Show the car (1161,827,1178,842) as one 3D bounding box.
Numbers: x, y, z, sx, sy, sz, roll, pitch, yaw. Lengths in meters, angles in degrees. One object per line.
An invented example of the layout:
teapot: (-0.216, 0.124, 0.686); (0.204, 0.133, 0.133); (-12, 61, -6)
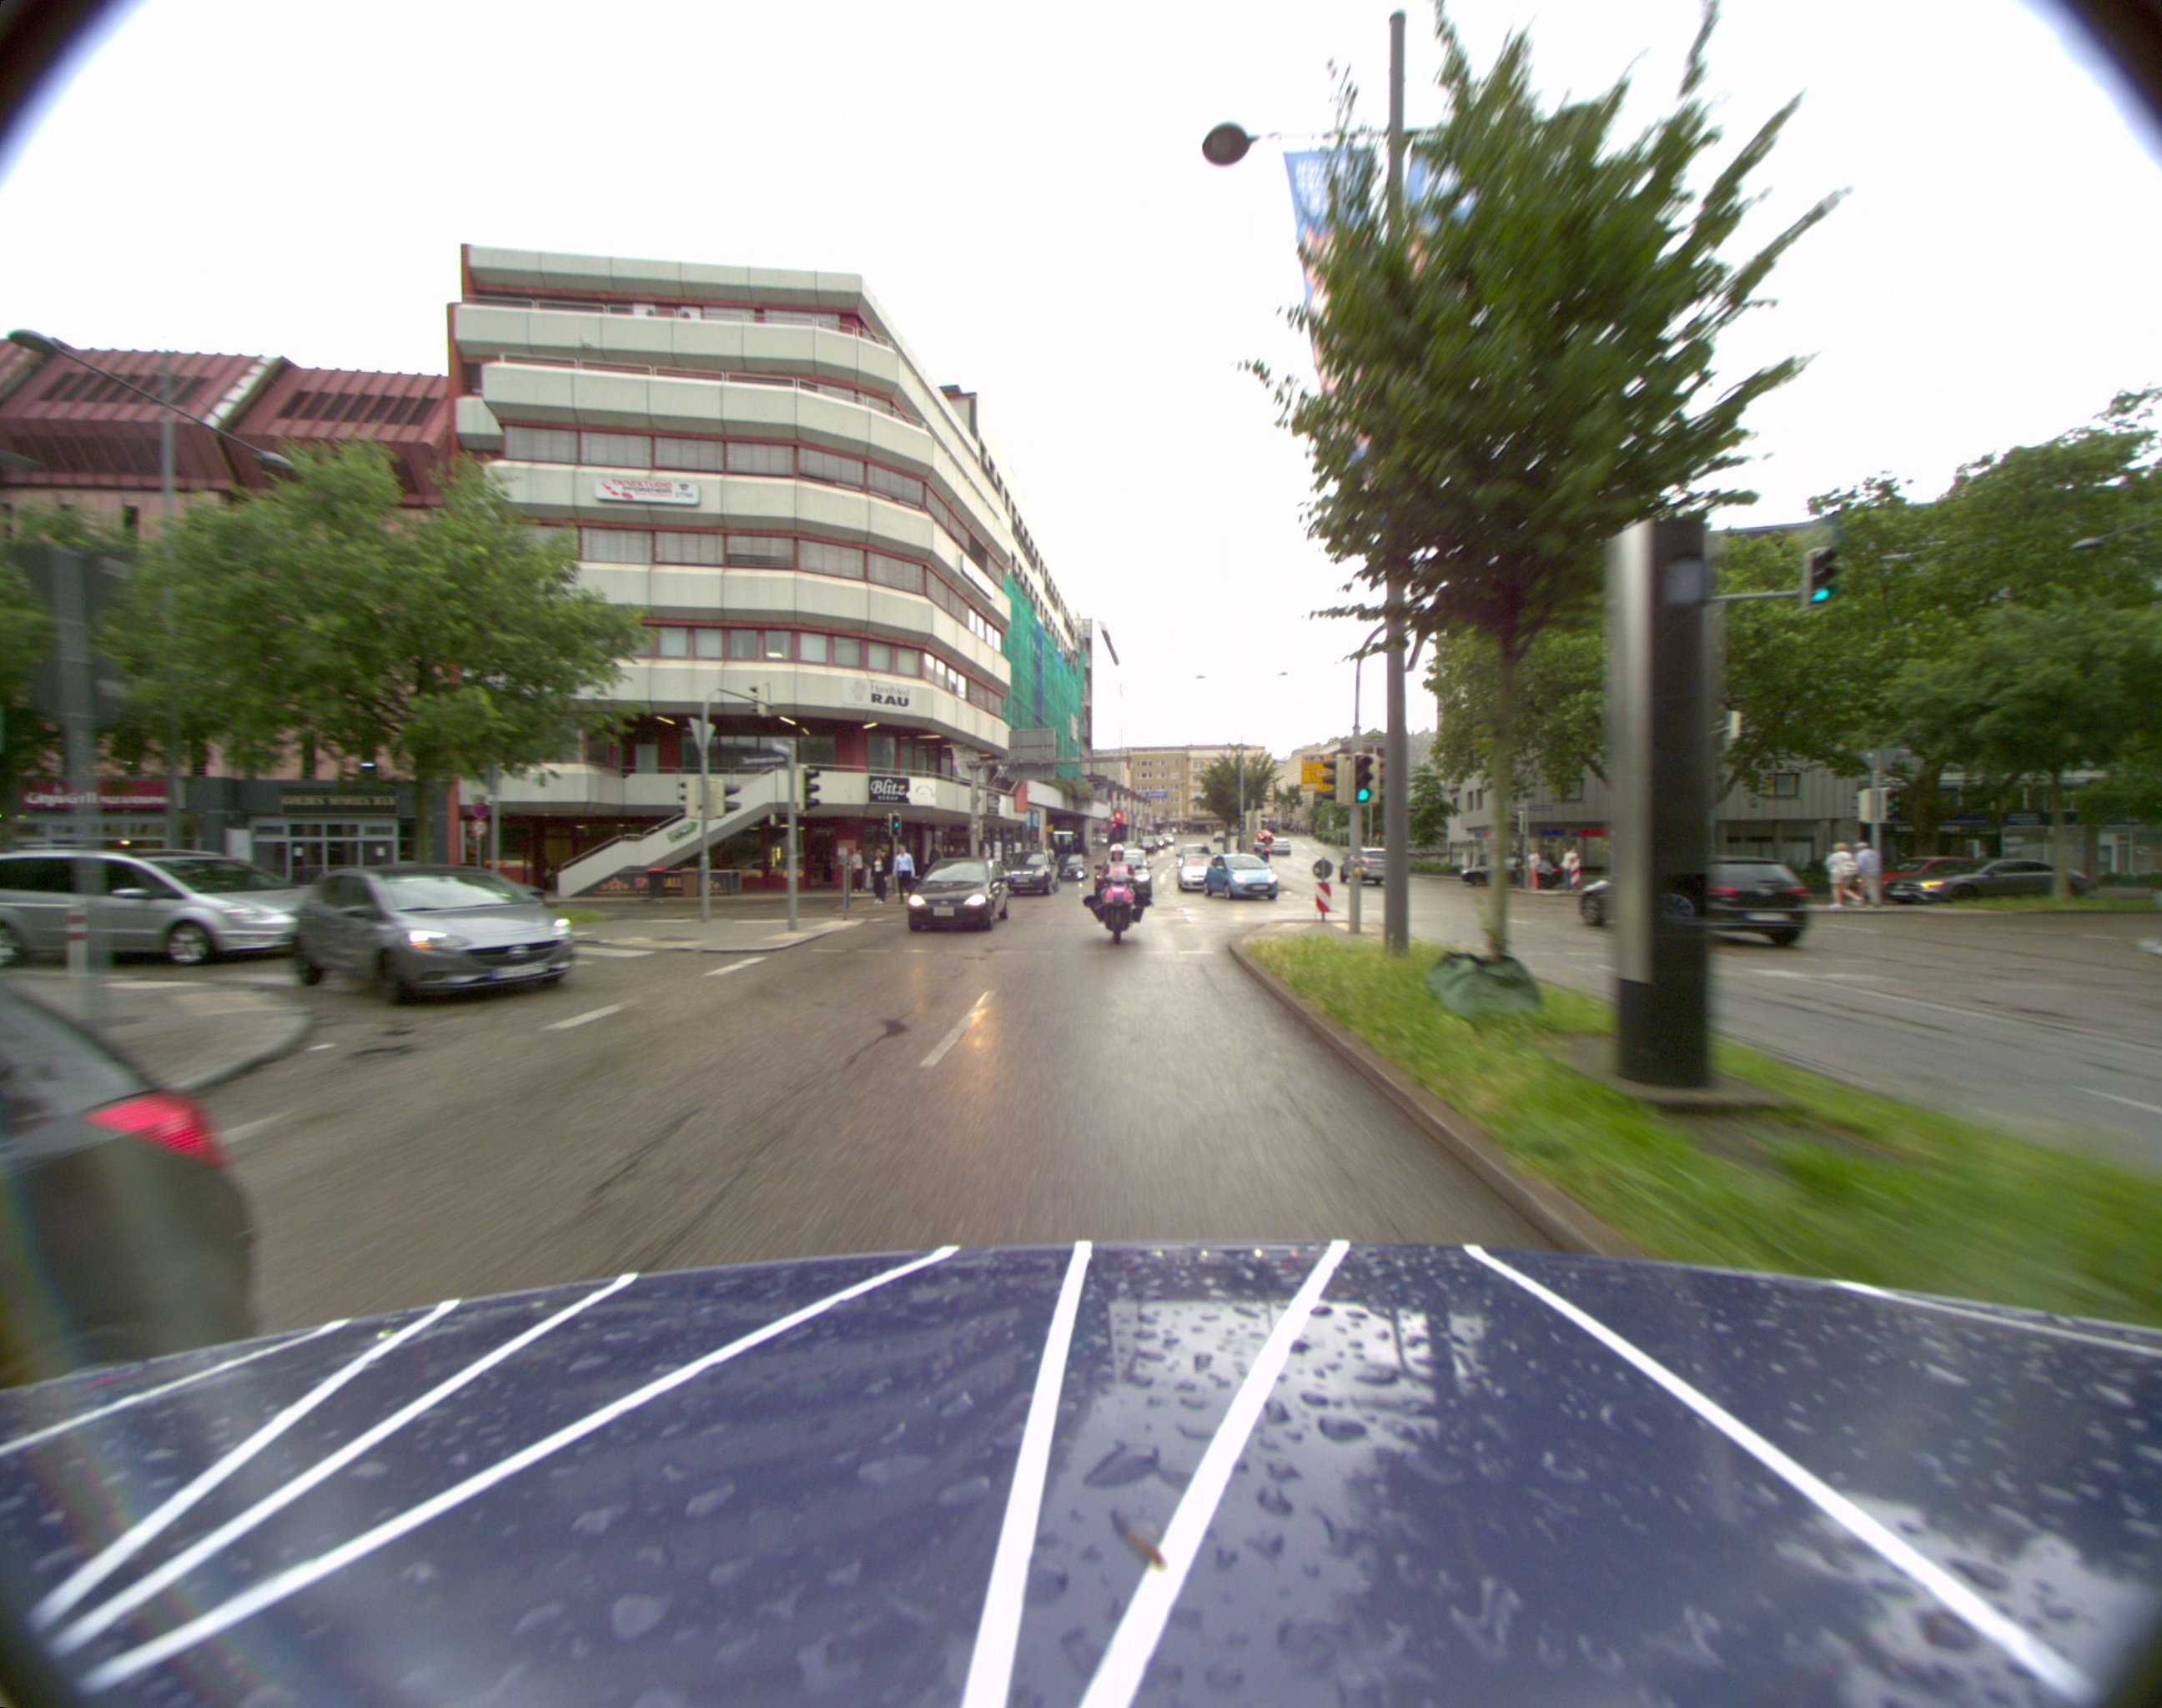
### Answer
car: (11.402, -2.504, 97.694); (1.830, 1.727, 4.001); (1, 4, 10)

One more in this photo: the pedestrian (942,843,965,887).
pedestrian: (-5.568, 0.463, 33.181); (0.760, 1.891, 0.790); (0, 3, 8)

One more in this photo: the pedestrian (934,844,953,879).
pedestrian: (-6.874, 0.365, 37.961); (0.589, 1.696, 0.971); (2, 1, 11)

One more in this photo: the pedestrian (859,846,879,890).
pedestrian: (-8.706, 0.578, 31.196); (0.596, 1.753, 0.493); (-1, 3, 9)

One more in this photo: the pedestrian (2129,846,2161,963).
pedestrian: (16.731, 0.774, 11.540); (0.648, 1.755, 0.592); (0, 4, 4)

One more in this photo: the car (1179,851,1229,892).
car: (4.921, 0.643, 30.764); (1.768, 1.401, 4.001); (-1, 2, 6)

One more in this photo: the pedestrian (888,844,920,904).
pedestrian: (-5.582, 0.611, 24.015); (0.623, 1.837, 0.848); (0, 3, 15)

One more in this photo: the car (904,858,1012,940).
car: (-2.462, 0.854, 16.025); (1.596, 1.432, 3.627); (-1, 1, 1)

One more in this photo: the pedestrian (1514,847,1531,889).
pedestrian: (18.814, 0.598, 32.387); (0.412, 1.753, 0.677); (0, 0, 7)

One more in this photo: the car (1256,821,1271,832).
car: (25.294, -3.774, 105.385); (1.628, 1.430, 3.647); (0, 3, 8)

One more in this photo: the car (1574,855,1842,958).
car: (10.877, 0.795, 13.651); (1.761, 1.412, 4.098); (2, 2, 8)

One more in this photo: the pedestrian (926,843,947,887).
pedestrian: (-6.324, 0.464, 33.255); (0.733, 1.885, 0.676); (0, 3, 8)

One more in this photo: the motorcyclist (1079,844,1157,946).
motorcyclist: (0.677, 0.710, 13.664); (1.295, 1.756, 0.846); (1, 0, 9)

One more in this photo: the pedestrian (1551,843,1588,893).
pedestrian: (19.012, 0.523, 29.576); (0.861, 1.895, 0.826); (-1, 1, -15)

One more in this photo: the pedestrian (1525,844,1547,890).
pedestrian: (18.727, 0.532, 31.284); (0.447, 1.827, 0.676); (0, 4, 4)

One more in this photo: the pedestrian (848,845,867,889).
pedestrian: (-9.044, 0.510, 30.731); (0.528, 1.753, 0.510); (-3, 4, -34)

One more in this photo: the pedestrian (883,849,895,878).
pedestrian: (-9.842, 0.487, 38.908); (0.460, 1.479, 0.508); (-1, 4, -30)

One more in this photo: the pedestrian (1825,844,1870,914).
pedestrian: (19.701, 0.634, 19.528); (0.528, 1.754, 0.592); (-3, 2, 7)

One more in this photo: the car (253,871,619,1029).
car: (-7.904, 0.994, 9.308); (3.989, 1.468, 2.003); (-1, 2, 27)

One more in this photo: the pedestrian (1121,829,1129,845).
pedestrian: (5.136, -2.008, 88.507); (0.707, 1.772, 0.641); (5, 9, 10)

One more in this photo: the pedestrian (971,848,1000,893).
pedestrian: (-4.026, 0.677, 32.186); (0.897, 1.770, 0.805); (5, 4, 12)

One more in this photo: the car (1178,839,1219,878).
car: (6.436, 0.190, 41.562); (1.997, 1.768, 4.886); (-2, 3, 9)

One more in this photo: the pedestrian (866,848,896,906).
pedestrian: (-6.312, 0.708, 23.996); (0.623, 1.764, 0.677); (0, 3, 15)

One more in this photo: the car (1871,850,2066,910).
car: (26.438, 0.738, 22.752); (3.596, 1.686, 1.638); (1, 0, 9)

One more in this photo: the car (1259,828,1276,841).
car: (22.630, -2.326, 92.190); (1.621, 1.483, 3.881); (2, 2, 8)

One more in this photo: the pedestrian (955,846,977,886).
pedestrian: (-5.218, 0.523, 34.608); (0.750, 1.770, 0.888); (-1, 3, 5)

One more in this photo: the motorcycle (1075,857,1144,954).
motorcycle: (0.551, 0.791, 13.135); (0.831, 1.479, 2.868); (1, 0, 9)

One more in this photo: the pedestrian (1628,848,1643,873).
pedestrian: (37.530, 0.431, 51.423); (0.622, 1.648, 0.633); (1, 4, 14)

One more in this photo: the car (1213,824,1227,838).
car: (18.820, -3.133, 103.033); (1.830, 1.727, 4.001); (1, 4, 10)

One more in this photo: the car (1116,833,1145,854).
car: (4.347, -0.941, 65.780); (1.775, 1.575, 4.002); (-2, 3, 13)

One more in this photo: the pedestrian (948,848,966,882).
pedestrian: (-6.167, 0.558, 37.864); (0.575, 1.654, 0.941); (2, 1, 11)

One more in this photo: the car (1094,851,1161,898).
car: (1.790, 0.677, 27.620); (1.936, 1.511, 4.471); (-1, 0, 10)

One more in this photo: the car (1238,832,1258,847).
car: (17.838, -1.576, 81.401); (1.716, 1.470, 3.958); (2, 2, 8)

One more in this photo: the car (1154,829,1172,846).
car: (9.380, -1.911, 86.899); (1.830, 1.727, 4.001); (1, 4, 10)

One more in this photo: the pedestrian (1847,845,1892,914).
pedestrian: (20.300, 0.651, 19.568); (0.528, 1.754, 0.593); (1, 0, 7)

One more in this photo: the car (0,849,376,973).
car: (-14.208, 0.822, 11.853); (4.606, 1.749, 1.855); (0, 2, -1)

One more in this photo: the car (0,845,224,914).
car: (-26.494, 0.650, 20.671); (3.998, 1.544, 1.806); (-3, 3, -3)

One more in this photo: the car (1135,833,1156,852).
car: (6.566, -1.148, 77.070); (1.830, 1.727, 4.001); (1, 4, 10)

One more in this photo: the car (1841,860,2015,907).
car: (29.121, 0.987, 26.225); (3.996, 1.577, 1.702); (0, 0, 2)

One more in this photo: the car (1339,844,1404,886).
car: (13.160, 0.444, 34.696); (1.831, 1.726, 4.312); (0, 1, 7)

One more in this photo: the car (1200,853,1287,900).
car: (5.348, 0.709, 25.462); (1.701, 1.465, 3.688); (0, 0, -7)

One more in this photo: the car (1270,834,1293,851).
car: (18.968, -1.079, 71.913); (1.675, 1.507, 3.645); (1, 1, 8)

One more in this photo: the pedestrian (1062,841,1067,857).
pedestrian: (-1.498, -0.490, 70.138); (0.429, 1.481, 0.524); (0, 4, -8)

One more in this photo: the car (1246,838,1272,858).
car: (14.205, -0.500, 60.901); (1.626, 1.546, 3.661); (0, 1, 7)

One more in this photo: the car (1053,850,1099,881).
car: (-0.206, 0.625, 42.285); (1.680, 1.422, 3.778); (-1, 3, 13)

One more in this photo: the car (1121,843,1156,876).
car: (3.255, 0.312, 42.338); (1.631, 1.731, 3.603); (1, 0, 9)

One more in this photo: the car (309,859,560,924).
car: (-15.124, 0.839, 17.978); (4.272, 1.412, 1.787); (0, 1, -4)

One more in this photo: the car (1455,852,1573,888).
car: (19.961, 0.696, 35.135); (4.412, 1.388, 1.937); (2, 2, 41)

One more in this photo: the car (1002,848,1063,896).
car: (-1.797, 0.639, 29.352); (1.735, 1.669, 4.249); (-2, 1, 5)
